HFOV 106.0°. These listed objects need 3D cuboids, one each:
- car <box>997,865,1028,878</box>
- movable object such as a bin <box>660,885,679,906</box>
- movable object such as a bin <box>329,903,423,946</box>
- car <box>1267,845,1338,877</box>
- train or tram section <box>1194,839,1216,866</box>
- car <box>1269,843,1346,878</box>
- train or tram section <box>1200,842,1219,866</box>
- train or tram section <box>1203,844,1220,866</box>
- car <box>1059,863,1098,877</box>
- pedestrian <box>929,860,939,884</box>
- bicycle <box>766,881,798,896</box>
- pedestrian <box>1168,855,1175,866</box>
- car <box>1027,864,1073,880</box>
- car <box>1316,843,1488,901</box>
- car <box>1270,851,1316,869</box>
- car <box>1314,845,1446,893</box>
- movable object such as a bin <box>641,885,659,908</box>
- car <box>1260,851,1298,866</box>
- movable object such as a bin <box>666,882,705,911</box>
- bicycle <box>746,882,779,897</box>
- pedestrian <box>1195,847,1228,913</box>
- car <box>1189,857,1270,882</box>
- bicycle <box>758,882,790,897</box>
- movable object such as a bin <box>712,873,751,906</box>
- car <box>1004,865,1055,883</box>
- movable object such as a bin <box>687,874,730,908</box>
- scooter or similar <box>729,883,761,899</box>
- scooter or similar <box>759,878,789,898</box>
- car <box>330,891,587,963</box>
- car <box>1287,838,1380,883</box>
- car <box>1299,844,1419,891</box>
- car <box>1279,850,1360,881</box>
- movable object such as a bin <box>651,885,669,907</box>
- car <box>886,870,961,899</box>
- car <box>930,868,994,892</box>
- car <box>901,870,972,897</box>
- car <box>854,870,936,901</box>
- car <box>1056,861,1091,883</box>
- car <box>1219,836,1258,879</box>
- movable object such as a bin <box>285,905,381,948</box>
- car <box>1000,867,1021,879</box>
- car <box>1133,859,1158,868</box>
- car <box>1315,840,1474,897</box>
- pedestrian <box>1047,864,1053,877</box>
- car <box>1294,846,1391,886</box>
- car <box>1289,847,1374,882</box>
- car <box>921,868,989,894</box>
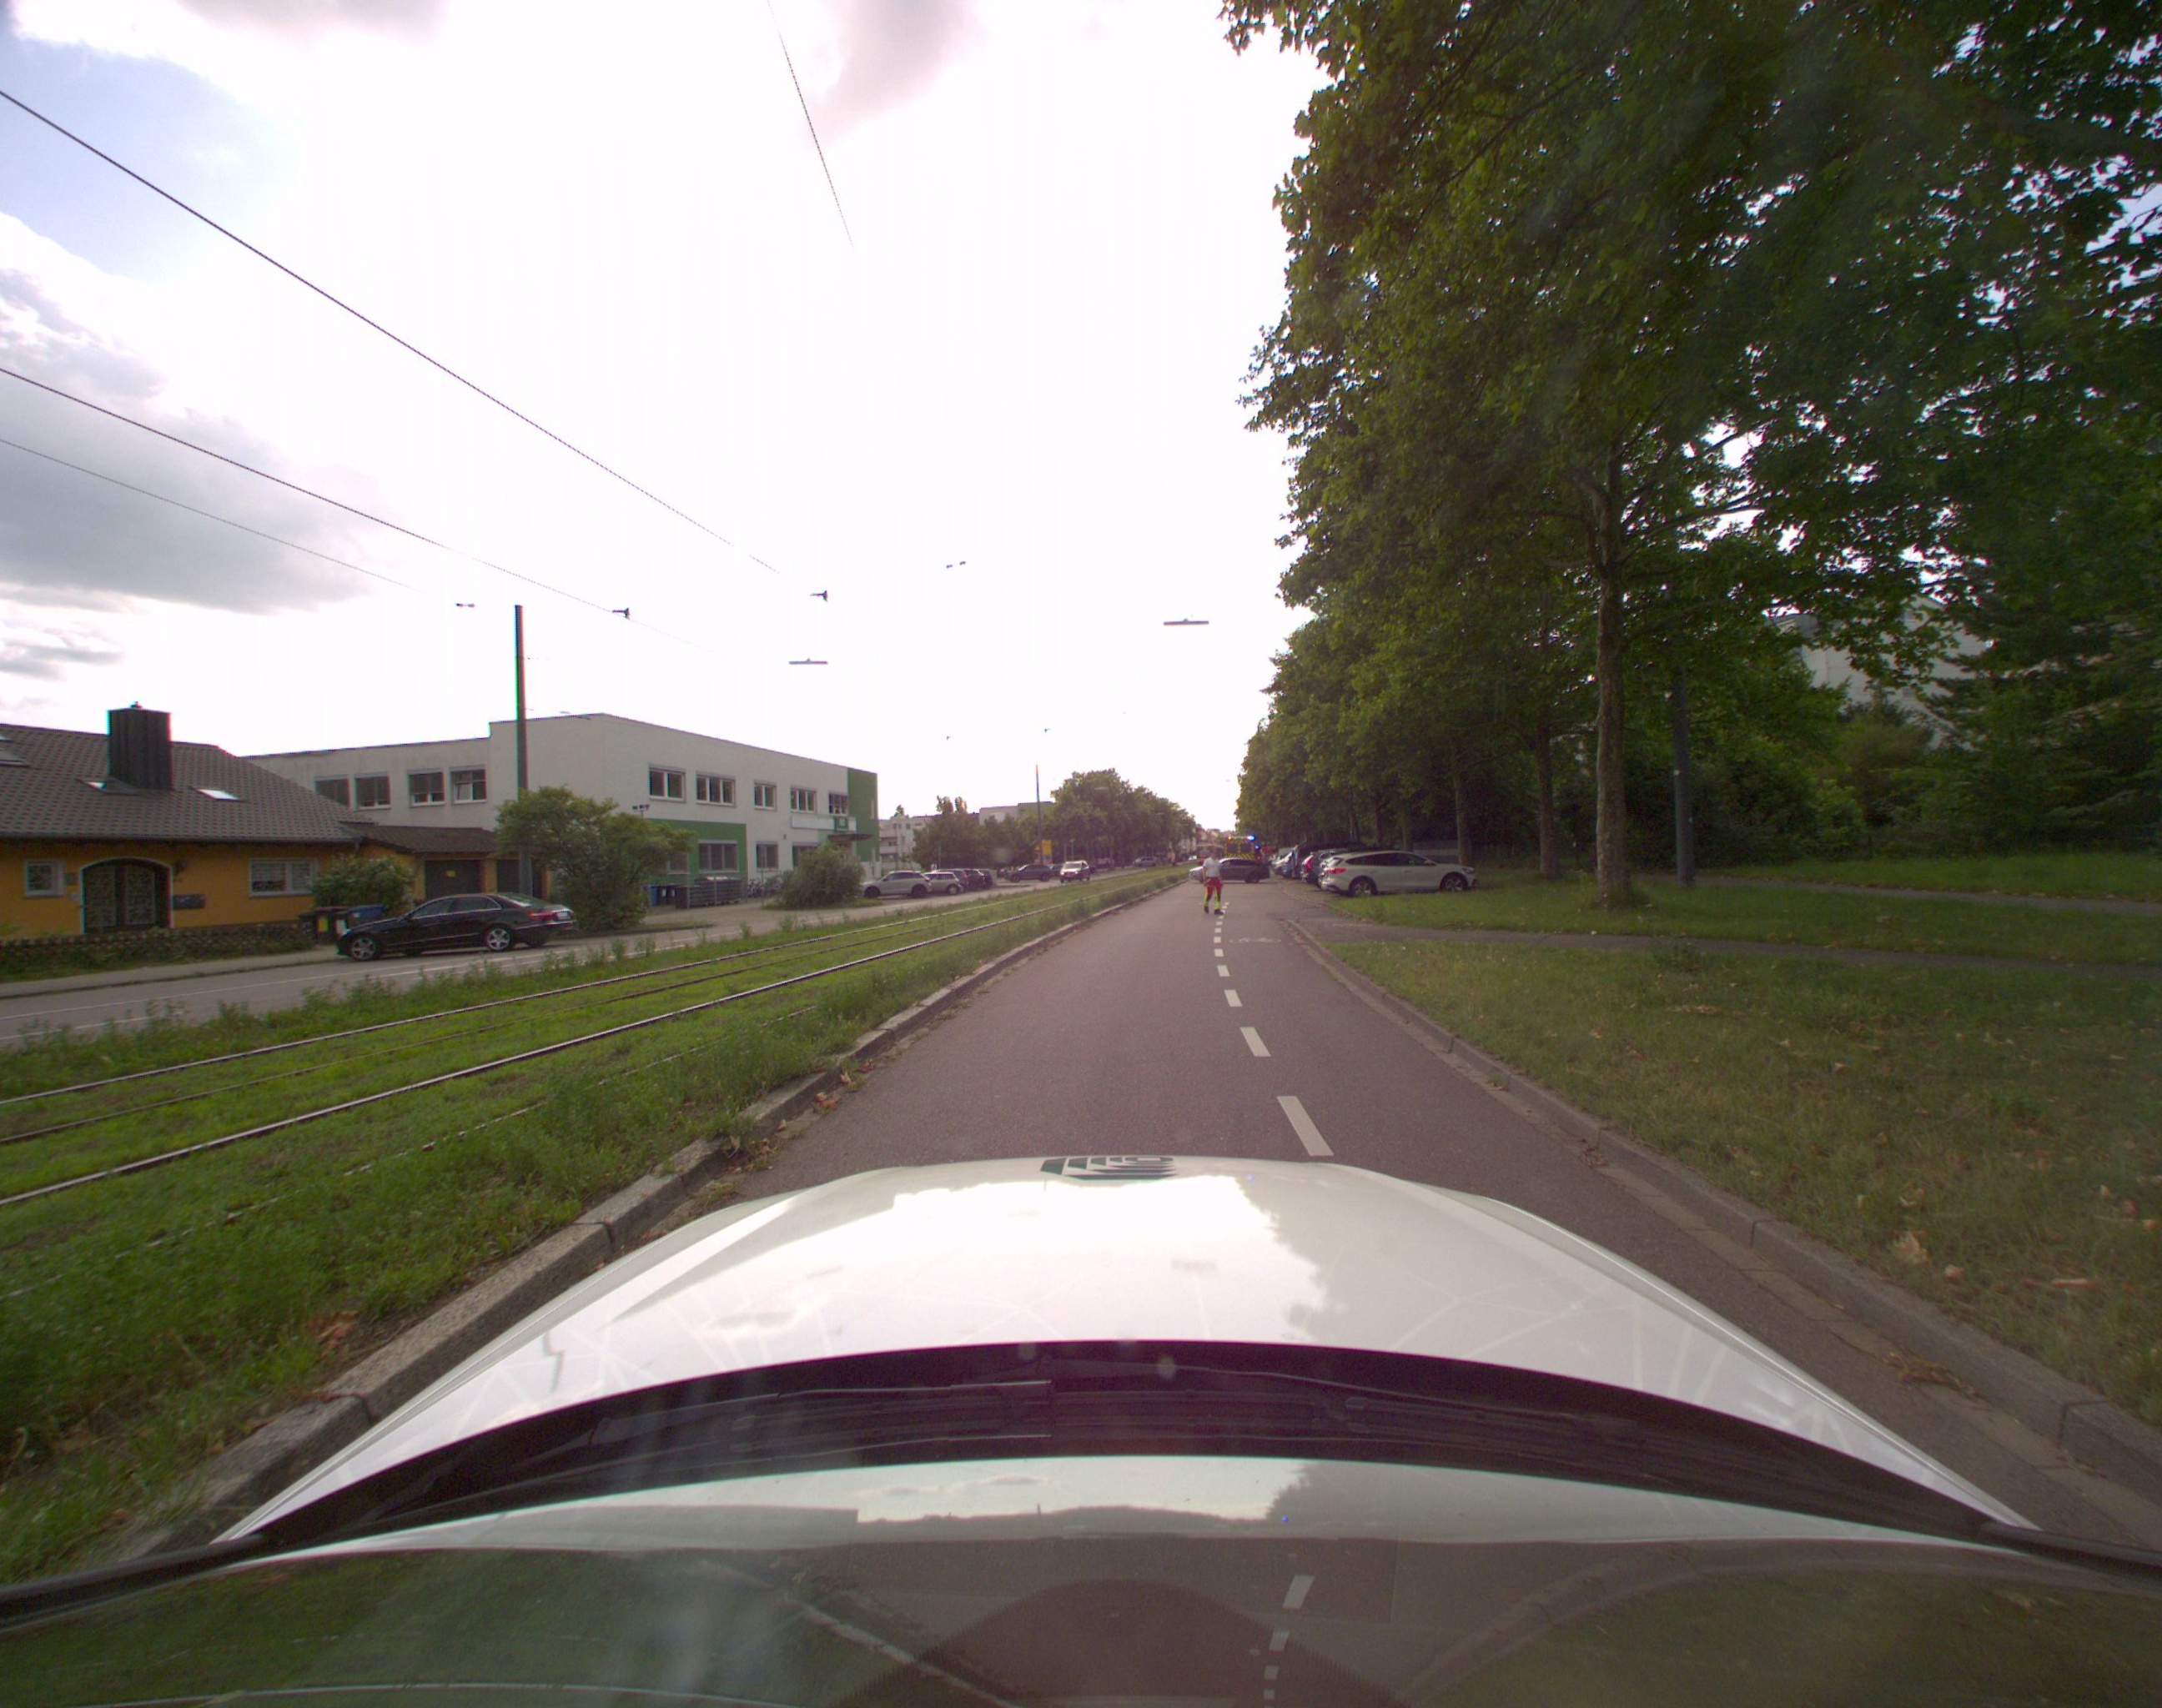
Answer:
[{"bbox_3d":[-9.031,2.302,107.524,3.949,1.750,2.012,-1,0,43],"label":"car"},{"bbox_3d":[-20.766,2.079,41.099,0.564,1.042,0.566,-1,0,12],"label":"movable object such as a bin"},{"bbox_3d":[-20.694,2.056,23.938,1.246,1.101,1.623,-3,-1,10],"label":"movable object such as a bin"},{"bbox_3d":[15.628,0.500,57.640,4.520,2.043,1.860,-3,-1,7],"label":"car"},{"bbox_3d":[17.880,-0.137,117.066,2.495,3.584,7.467,-4,-2,11],"label":"train or tram section"},{"bbox_3d":[14.736,0.442,53.118,4.520,2.001,1.860,-3,-1,7],"label":"car"},{"bbox_3d":[20.827,0.120,131.694,2.495,3.584,7.467,-4,-2,11],"label":"train or tram section"},{"bbox_3d":[22.305,0.247,138.972,2.495,3.584,7.467,-4,-2,11],"label":"train or tram section"},{"bbox_3d":[-0.324,1.894,96.204,4.246,1.482,1.866,-1,-1,-28],"label":"car"},{"bbox_3d":[-11.236,1.384,62.325,0.542,1.828,0.510,-3,-1,9],"label":"pedestrian"},{"bbox_3d":[-18.405,2.147,50.157,1.845,0.899,0.460,-1,-1,12],"label":"bicycle"},{"bbox_3d":[12.643,0.933,113.476,0.875,1.525,0.753,-1,-1,11],"label":"pedestrian"},{"bbox_3d":[-3.139,1.818,82.324,4.241,1.482,1.868,-1,-1,-24],"label":"car"},{"bbox_3d":[9.875,0.557,25.408,4.632,1.473,1.852,-3,-1,7],"label":"car"},{"bbox_3d":[22.603,0.654,87.130,4.520,1.608,1.860,-3,-1,7],"label":"car"},{"bbox_3d":[10.951,0.561,30.146,4.350,1.501,1.762,-3,-1,13],"label":"car"},{"bbox_3d":[-21.067,2.076,39.811,0.564,1.042,0.566,-1,0,12],"label":"movable object such as a bin"},{"bbox_3d":[25.503,0.566,105.054,4.520,1.608,1.860,-3,-1,7],"label":"car"},{"bbox_3d":[-18.292,1.961,37.711,0.999,1.234,1.261,-1,0,14],"label":"movable object such as a bin"},{"bbox_3d":[-18.811,2.112,48.146,1.845,0.899,0.460,-1,-1,12],"label":"bicycle"},{"bbox_3d":[3.443,0.673,21.548,0.799,1.686,0.853,-2,-1,8],"label":"pedestrian"},{"bbox_3d":[8.604,0.891,47.400,4.438,1.385,1.767,0,0,0],"label":"car"},{"bbox_3d":[-18.600,2.132,49.274,1.845,0.899,0.460,-1,-1,12],"label":"bicycle"},{"bbox_3d":[-17.540,1.772,40.868,0.998,1.519,1.610,-1,0,14],"label":"movable object such as a bin"},{"bbox_3d":[-4.608,1.739,72.231,4.226,1.482,1.875,-1,-1,-13],"label":"car"},{"bbox_3d":[-17.931,1.771,39.211,0.998,1.519,1.718,-1,0,14],"label":"movable object such as a bin"},{"bbox_3d":[-19.250,2.099,46.672,1.724,0.899,0.460,-1,-1,12],"label":"scooter or similar"},{"bbox_3d":[-17.537,1.933,46.527,1.290,1.156,1.101,-2,-2,40],"label":"scooter or similar"},{"bbox_3d":[-15.141,1.739,20.060,4.634,1.407,1.877,-3,-2,-9],"label":"car"},{"bbox_3d":[13.598,0.344,44.127,4.516,2.123,1.861,-3,-1,11],"label":"car"},{"bbox_3d":[11.105,0.546,32.856,4.350,1.639,1.762,-3,-1,13],"label":"car"},{"bbox_3d":[14.747,0.703,50.519,4.521,1.660,1.859,-3,-1,7],"label":"car"},{"bbox_3d":[-20.902,2.086,40.448,0.564,1.042,0.566,-1,0,12],"label":"movable object such as a bin"},{"bbox_3d":[-9.531,1.816,49.275,4.233,1.482,1.872,-3,-1,-18],"label":"car"},{"bbox_3d":[-8.488,1.823,58.158,4.233,1.482,1.872,-3,-1,-18],"label":"car"},{"bbox_3d":[-9.235,1.845,52.100,4.233,1.482,1.872,-3,-1,-18],"label":"car"},{"bbox_3d":[-10.569,1.782,46.252,4.239,1.482,1.869,-3,-1,-23],"label":"car"},{"bbox_3d":[-0.550,1.444,66.678,1.981,1.558,4.383,-4,-1,11],"label":"car"},{"bbox_3d":[11.775,0.253,60.487,2.623,2.966,6.322,0,0,13],"label":"car"},{"bbox_3d":[-22.137,2.125,24.144,1.246,1.092,1.623,-3,-1,10],"label":"movable object such as a bin"},{"bbox_3d":[-10.563,2.835,122.613,1.980,1.750,4.013,-1,0,11],"label":"car"},{"bbox_3d":[12.615,1.814,159.644,4.639,1.633,1.866,-2,-1,-28],"label":"car"},{"bbox_3d":[10.495,0.493,27.570,4.632,1.626,1.852,-3,-1,7],"label":"car"},{"bbox_3d":[-3.858,2.072,101.692,0.463,1.677,0.605,-3,-1,10],"label":"pedestrian"},{"bbox_3d":[12.232,0.569,38.232,3.951,1.605,1.756,-3,-1,1],"label":"car"},{"bbox_3d":[14.667,0.601,47.944,4.516,1.766,1.861,-3,-1,11],"label":"car"},{"bbox_3d":[-8.540,1.826,55.131,4.233,1.482,1.872,-3,-1,-18],"label":"car"}]
